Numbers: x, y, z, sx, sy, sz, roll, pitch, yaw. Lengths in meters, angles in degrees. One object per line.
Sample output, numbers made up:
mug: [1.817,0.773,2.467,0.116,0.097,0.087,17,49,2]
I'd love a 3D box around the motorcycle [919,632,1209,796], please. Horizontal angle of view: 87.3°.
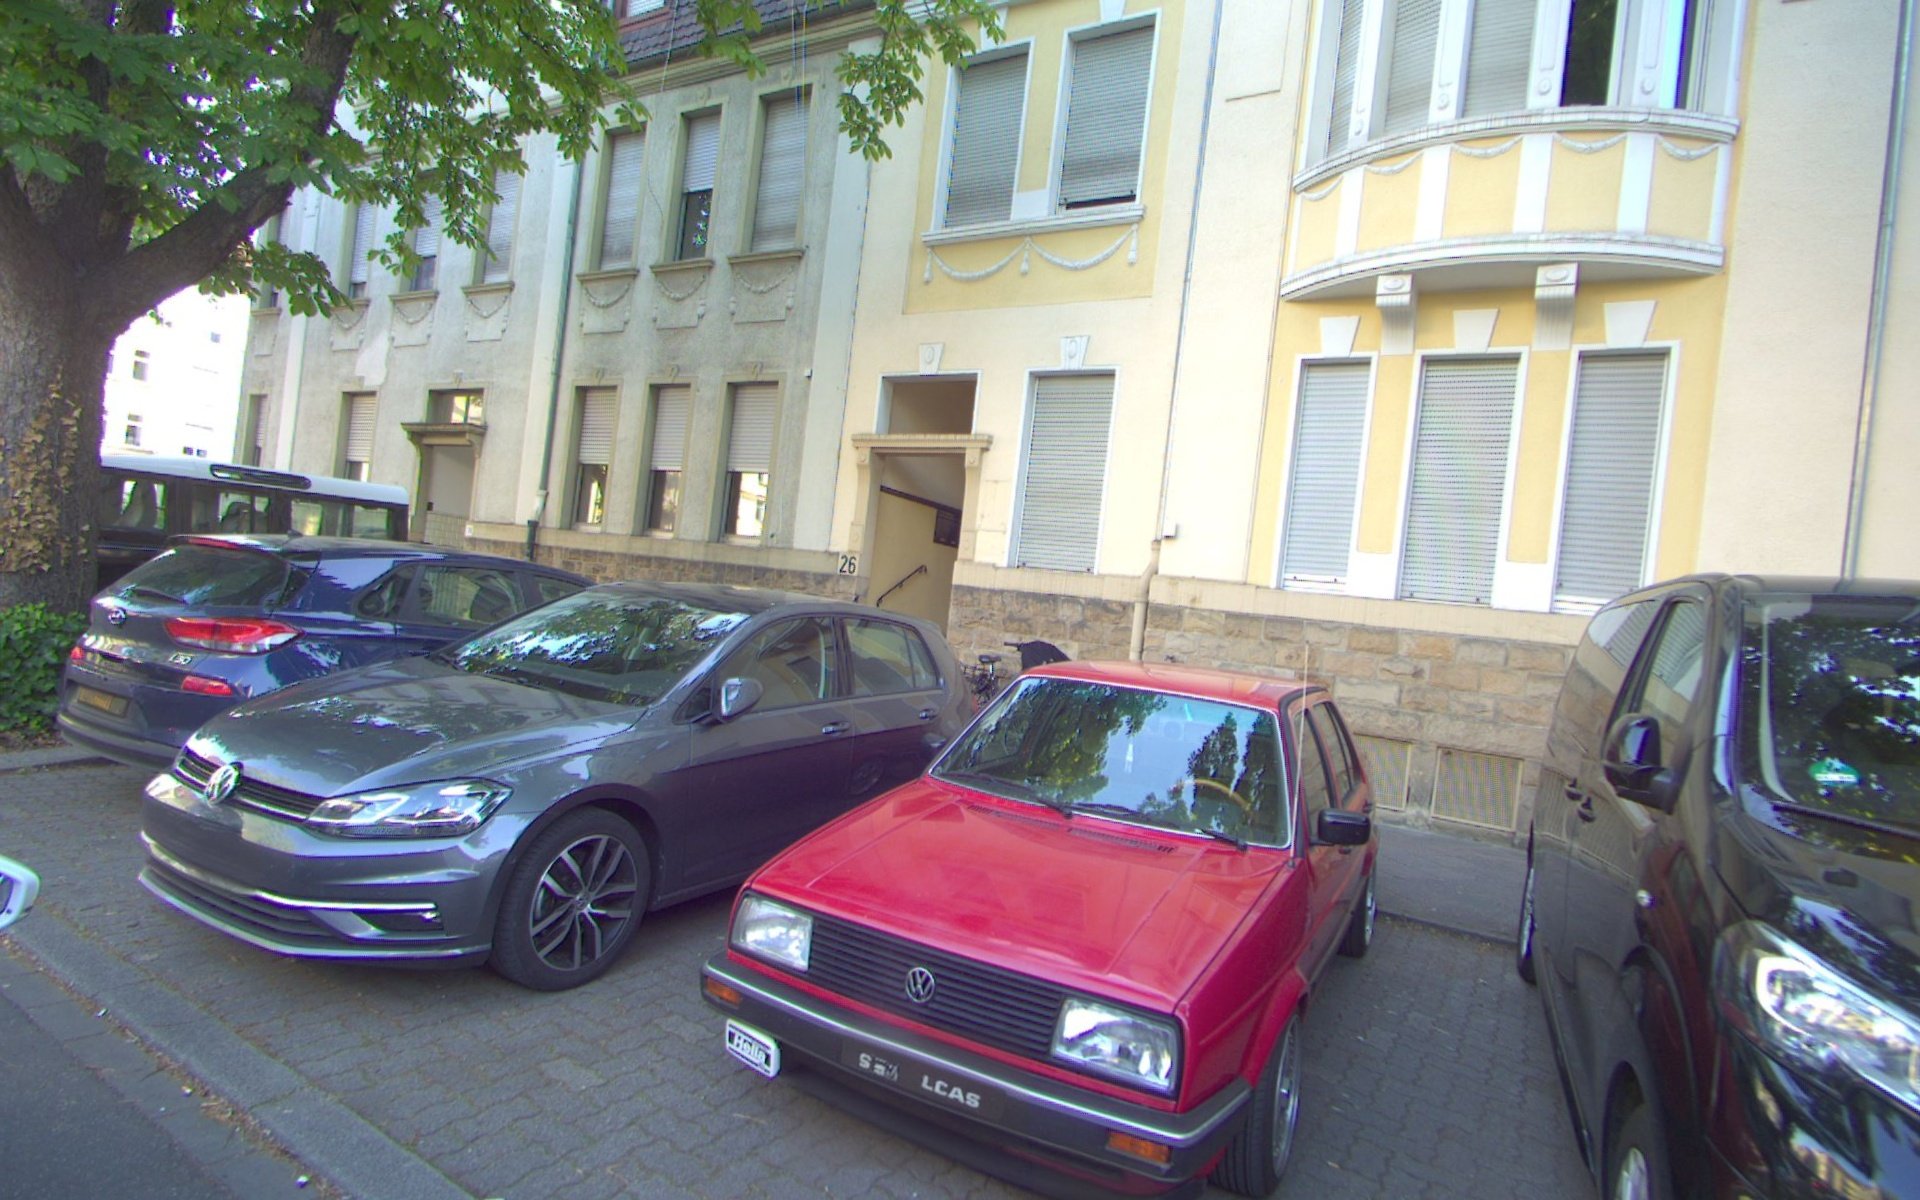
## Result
motorcycle: [0.934,0.988,9.414,2.439,1.087,0.959,7,2,32]

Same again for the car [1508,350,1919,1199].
car: [2.830,0.872,2.896,1.864,1.898,4.759,6,0,27]

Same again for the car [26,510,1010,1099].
car: [-1.454,0.619,4.835,1.693,1.470,4.060,6,0,28]

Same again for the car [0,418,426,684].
car: [-7.614,-0.380,9.253,1.671,2.061,4.473,6,0,28]

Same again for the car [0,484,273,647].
car: [-10.008,-0.401,10.954,1.679,1.589,3.730,6,0,28]

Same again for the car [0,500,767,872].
car: [-3.108,0.426,6.217,1.679,1.470,3.730,6,0,28]

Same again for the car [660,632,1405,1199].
car: [0.853,0.945,4.323,1.601,1.332,4.144,6,0,27]

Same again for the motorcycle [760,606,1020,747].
motorcycle: [-0.811,0.764,10.803,2.822,1.087,0.694,7,2,31]

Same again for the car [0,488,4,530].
car: [-29.622,-2.769,27.511,1.688,1.446,4.703,7,-1,23]
